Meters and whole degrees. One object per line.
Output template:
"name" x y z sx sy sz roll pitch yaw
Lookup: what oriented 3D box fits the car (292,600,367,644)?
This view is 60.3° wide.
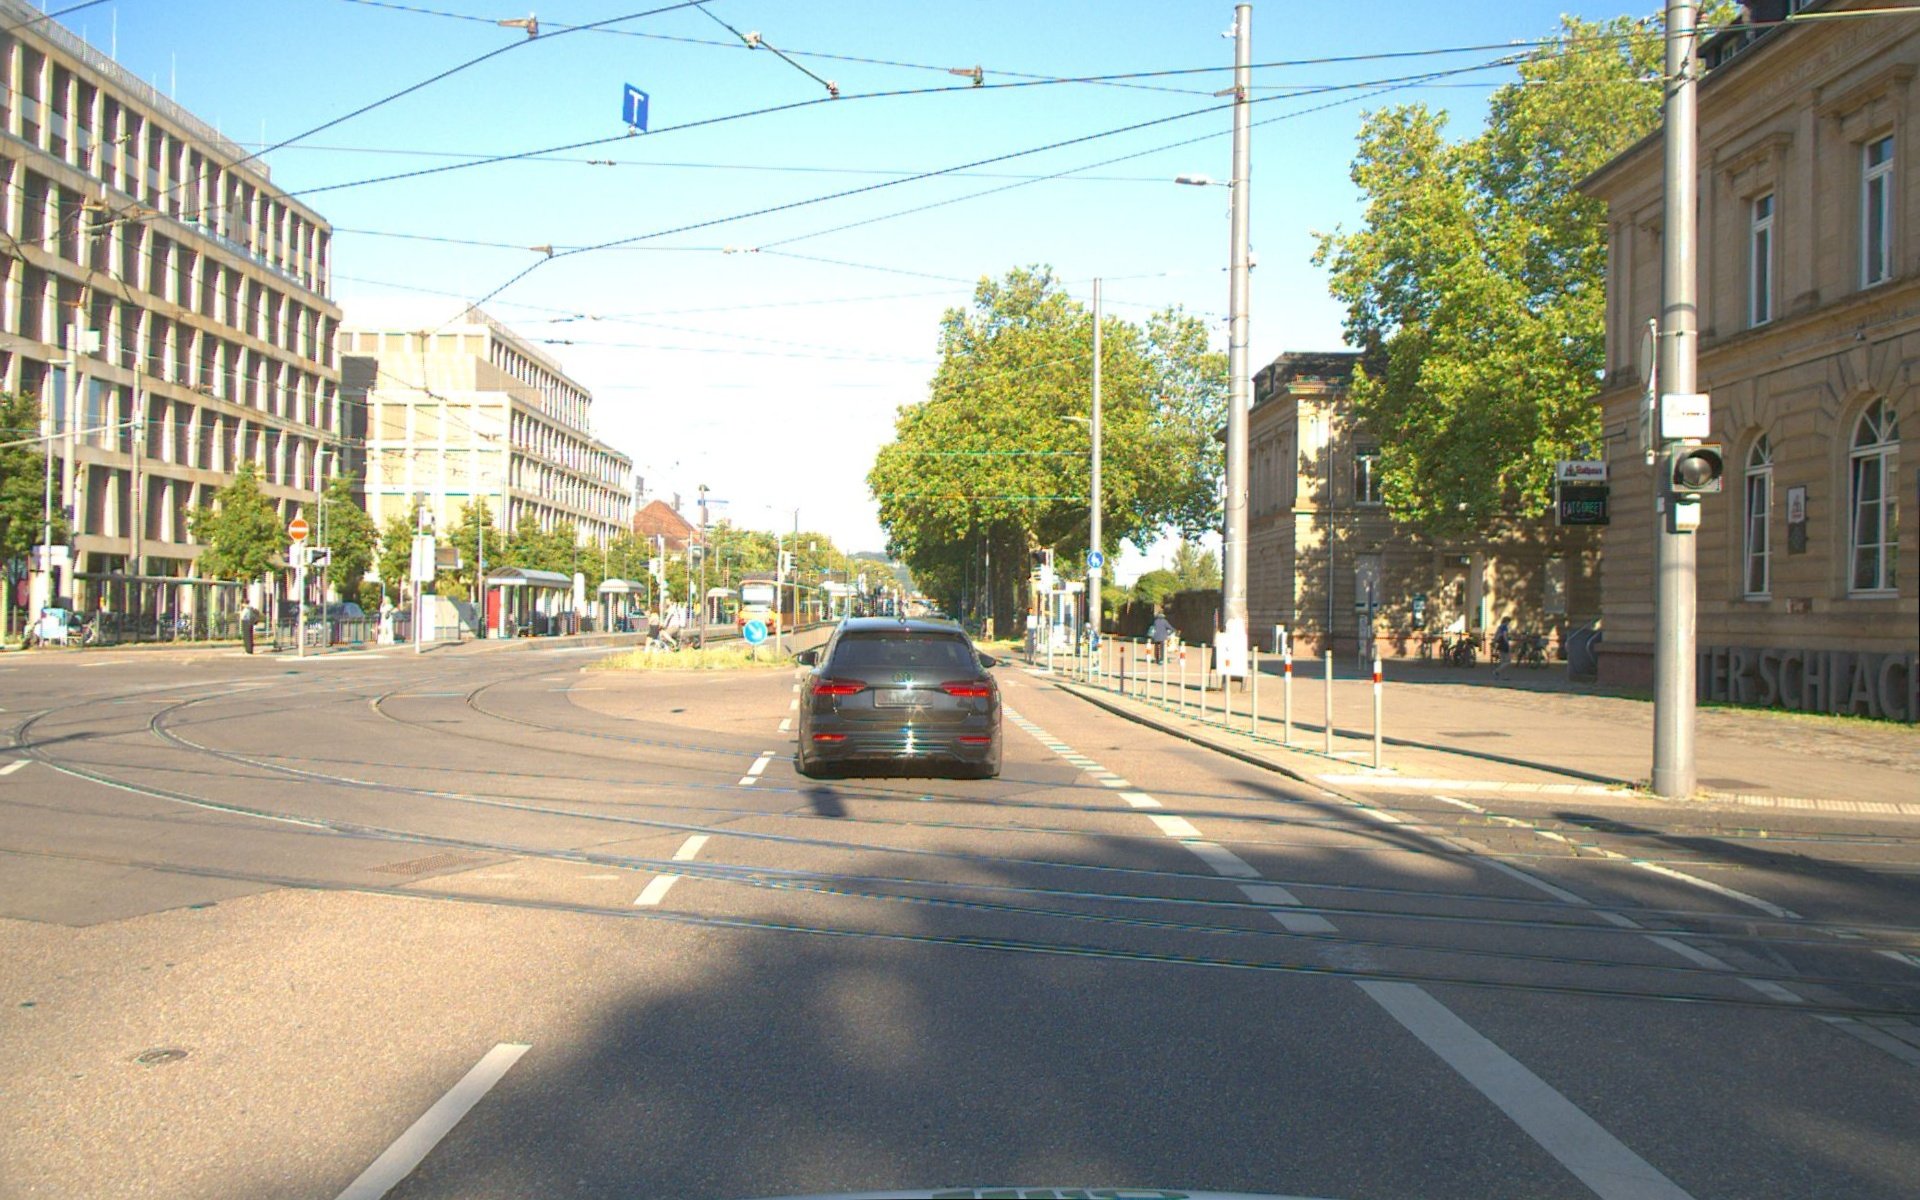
"car" -27.649 0.938 72.632 1.805 1.844 4.111 0 0 -2

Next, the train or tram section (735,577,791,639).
"train or tram section" -11.783 0.476 99.810 2.556 3.511 11.126 1 0 -3

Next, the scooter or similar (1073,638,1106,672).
"scooter or similar" 3.824 1.620 48.712 0.920 0.983 0.361 0 -1 -3

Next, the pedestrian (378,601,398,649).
"pedestrian" -20.277 0.878 58.613 0.609 1.693 0.510 1 0 -26

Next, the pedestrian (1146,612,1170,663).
"pedestrian" 6.657 1.270 55.737 0.668 1.690 0.758 1 0 -3

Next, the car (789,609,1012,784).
"car" -0.524 0.851 16.094 1.864 1.446 4.143 1 -1 -1

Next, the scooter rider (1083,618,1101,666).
"scooter rider" 3.889 1.233 48.725 0.475 1.410 0.377 0 -1 -3

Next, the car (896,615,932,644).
"car" -2.535 1.621 91.878 1.864 1.512 4.143 1 -1 -1

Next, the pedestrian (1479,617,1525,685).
"pedestrian" 15.461 1.455 47.182 0.962 1.898 0.824 1 0 -14

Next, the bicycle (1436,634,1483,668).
"bicycle" 16.741 1.694 55.470 0.516 1.065 2.354 1 0 -9

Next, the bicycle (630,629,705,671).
"bicycle" -8.212 1.398 46.435 1.978 1.128 0.759 1 0 -23

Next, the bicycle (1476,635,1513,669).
"bicycle" 18.091 1.757 56.029 0.515 1.065 2.230 1 0 0

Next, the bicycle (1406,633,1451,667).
"bicycle" 15.698 1.656 55.468 0.516 1.065 2.354 1 0 -9

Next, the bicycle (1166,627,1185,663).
"bicycle" 7.265 1.520 55.774 0.426 1.165 1.339 1 0 -3

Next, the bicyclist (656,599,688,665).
"bicyclist" -8.103 0.899 46.517 0.746 1.850 0.759 1 0 -22

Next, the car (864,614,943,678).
"car" -1.389 1.149 41.997 1.864 1.512 4.143 1 -1 -1

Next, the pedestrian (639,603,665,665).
"pedestrian" -8.992 0.989 48.252 0.726 1.772 0.662 1 0 -11

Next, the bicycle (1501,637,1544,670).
"bicycle" 19.126 1.801 56.262 0.515 1.065 2.228 1 0 -5

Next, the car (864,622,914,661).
"car" -2.854 1.672 67.321 1.864 1.512 4.143 1 -1 -1

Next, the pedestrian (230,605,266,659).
"pedestrian" -20.546 0.918 47.733 0.741 1.559 0.625 0 0 3
